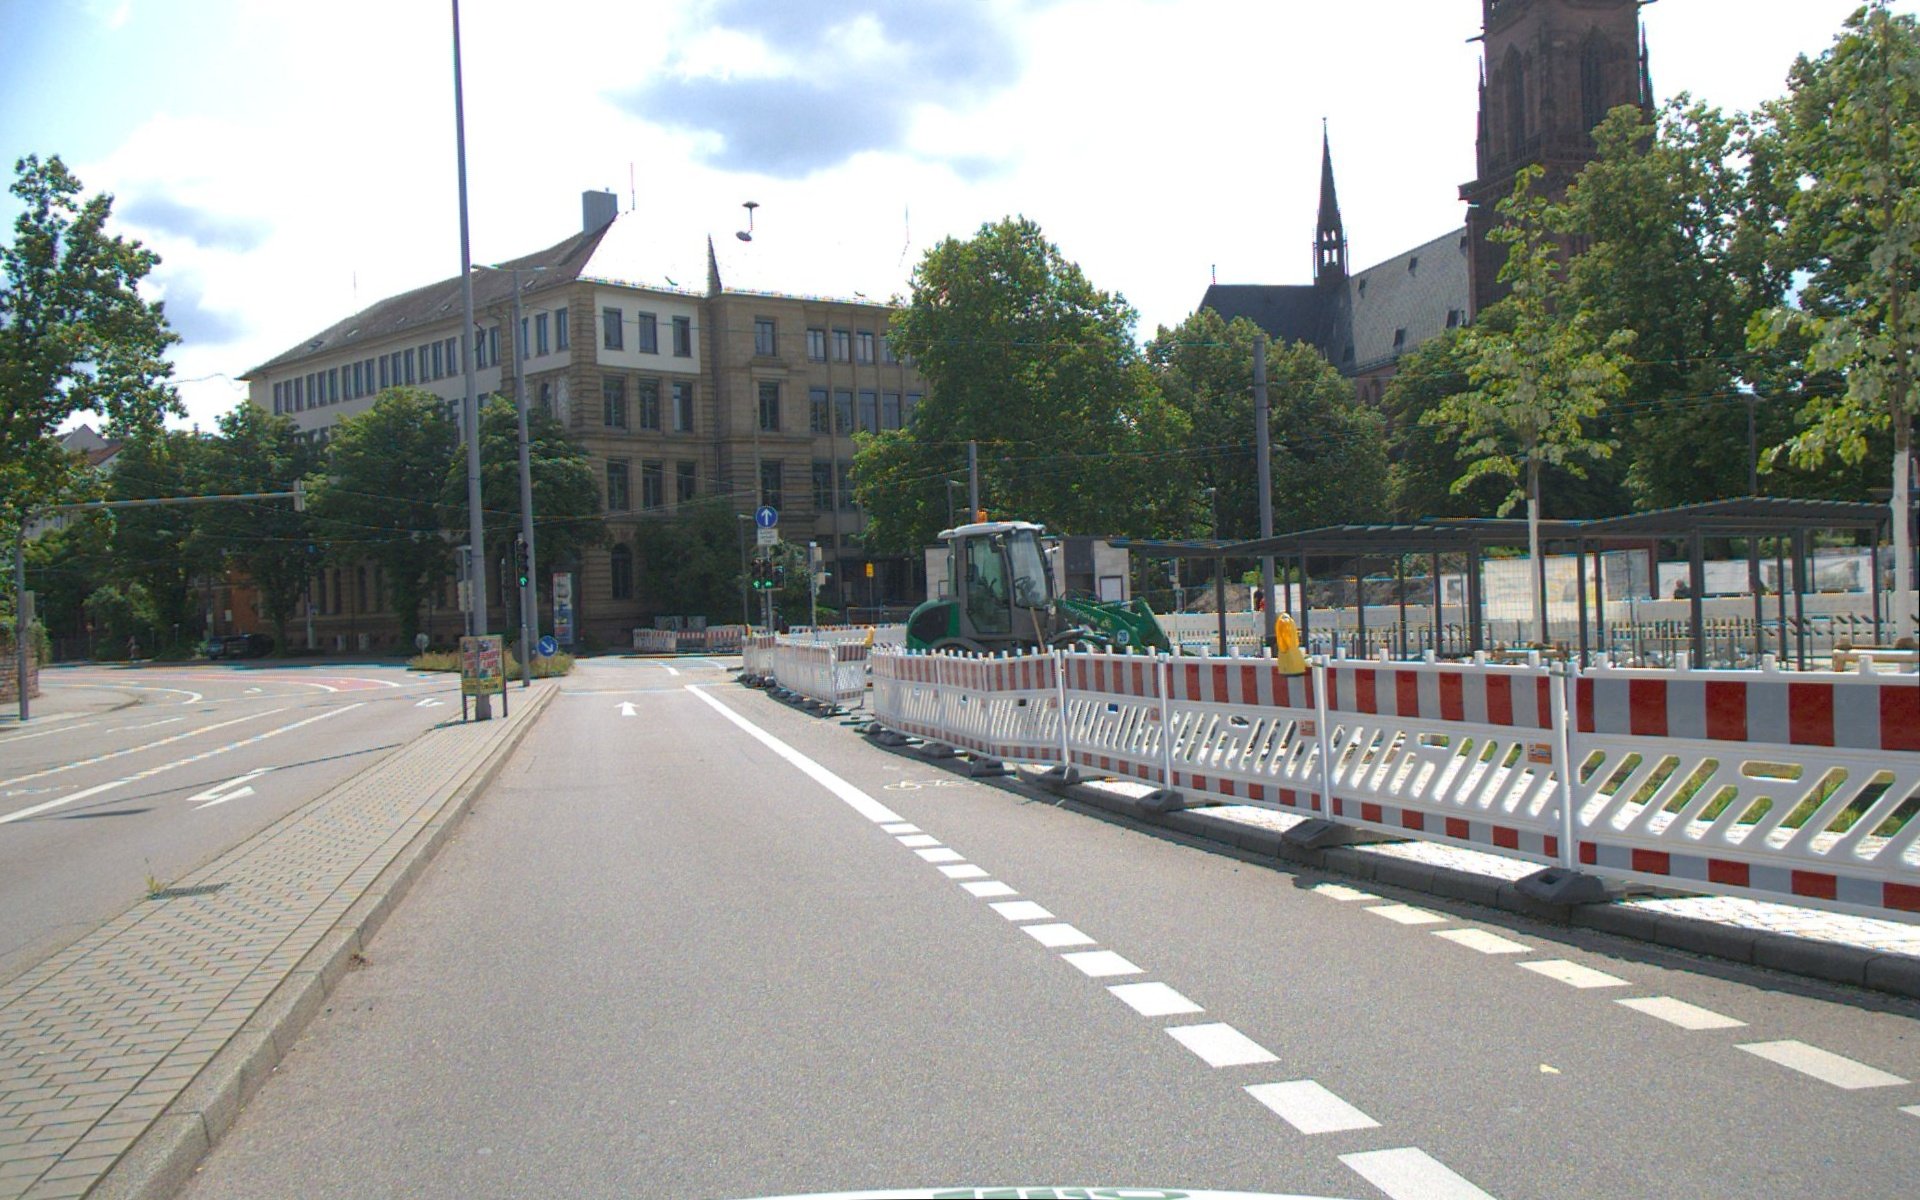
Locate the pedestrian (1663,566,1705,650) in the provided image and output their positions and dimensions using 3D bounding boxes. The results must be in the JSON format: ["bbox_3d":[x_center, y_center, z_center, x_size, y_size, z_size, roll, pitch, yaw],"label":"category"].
[{"bbox_3d":[18.176,0.200,41.509,0.736,2.049,0.759,-2,0,39],"label":"pedestrian"}]

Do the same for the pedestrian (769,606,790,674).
[{"bbox_3d":[-5.095,1.130,46.748,0.488,1.882,0.529,-2,0,-2],"label":"pedestrian"}]

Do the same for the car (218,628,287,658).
[{"bbox_3d":[-45.637,2.789,106.747,3.927,1.713,1.793,-2,0,-19],"label":"car"}]

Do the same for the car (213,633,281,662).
[{"bbox_3d":[-47.119,3.106,109.345,3.927,1.713,1.793,-2,0,-19],"label":"car"}]

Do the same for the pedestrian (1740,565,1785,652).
[{"bbox_3d":[19.258,0.203,39.688,0.749,2.049,0.746,-2,0,41],"label":"pedestrian"}]

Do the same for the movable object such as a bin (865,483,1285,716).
[{"bbox_3d":[1.548,0.053,23.288,5.428,2.935,2.281,-2,0,35],"label":"movable object such as a bin"}]

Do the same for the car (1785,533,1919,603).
[{"bbox_3d":[27.313,-0.964,49.718,4.106,1.914,1.792,-2,0,43],"label":"car"}]
